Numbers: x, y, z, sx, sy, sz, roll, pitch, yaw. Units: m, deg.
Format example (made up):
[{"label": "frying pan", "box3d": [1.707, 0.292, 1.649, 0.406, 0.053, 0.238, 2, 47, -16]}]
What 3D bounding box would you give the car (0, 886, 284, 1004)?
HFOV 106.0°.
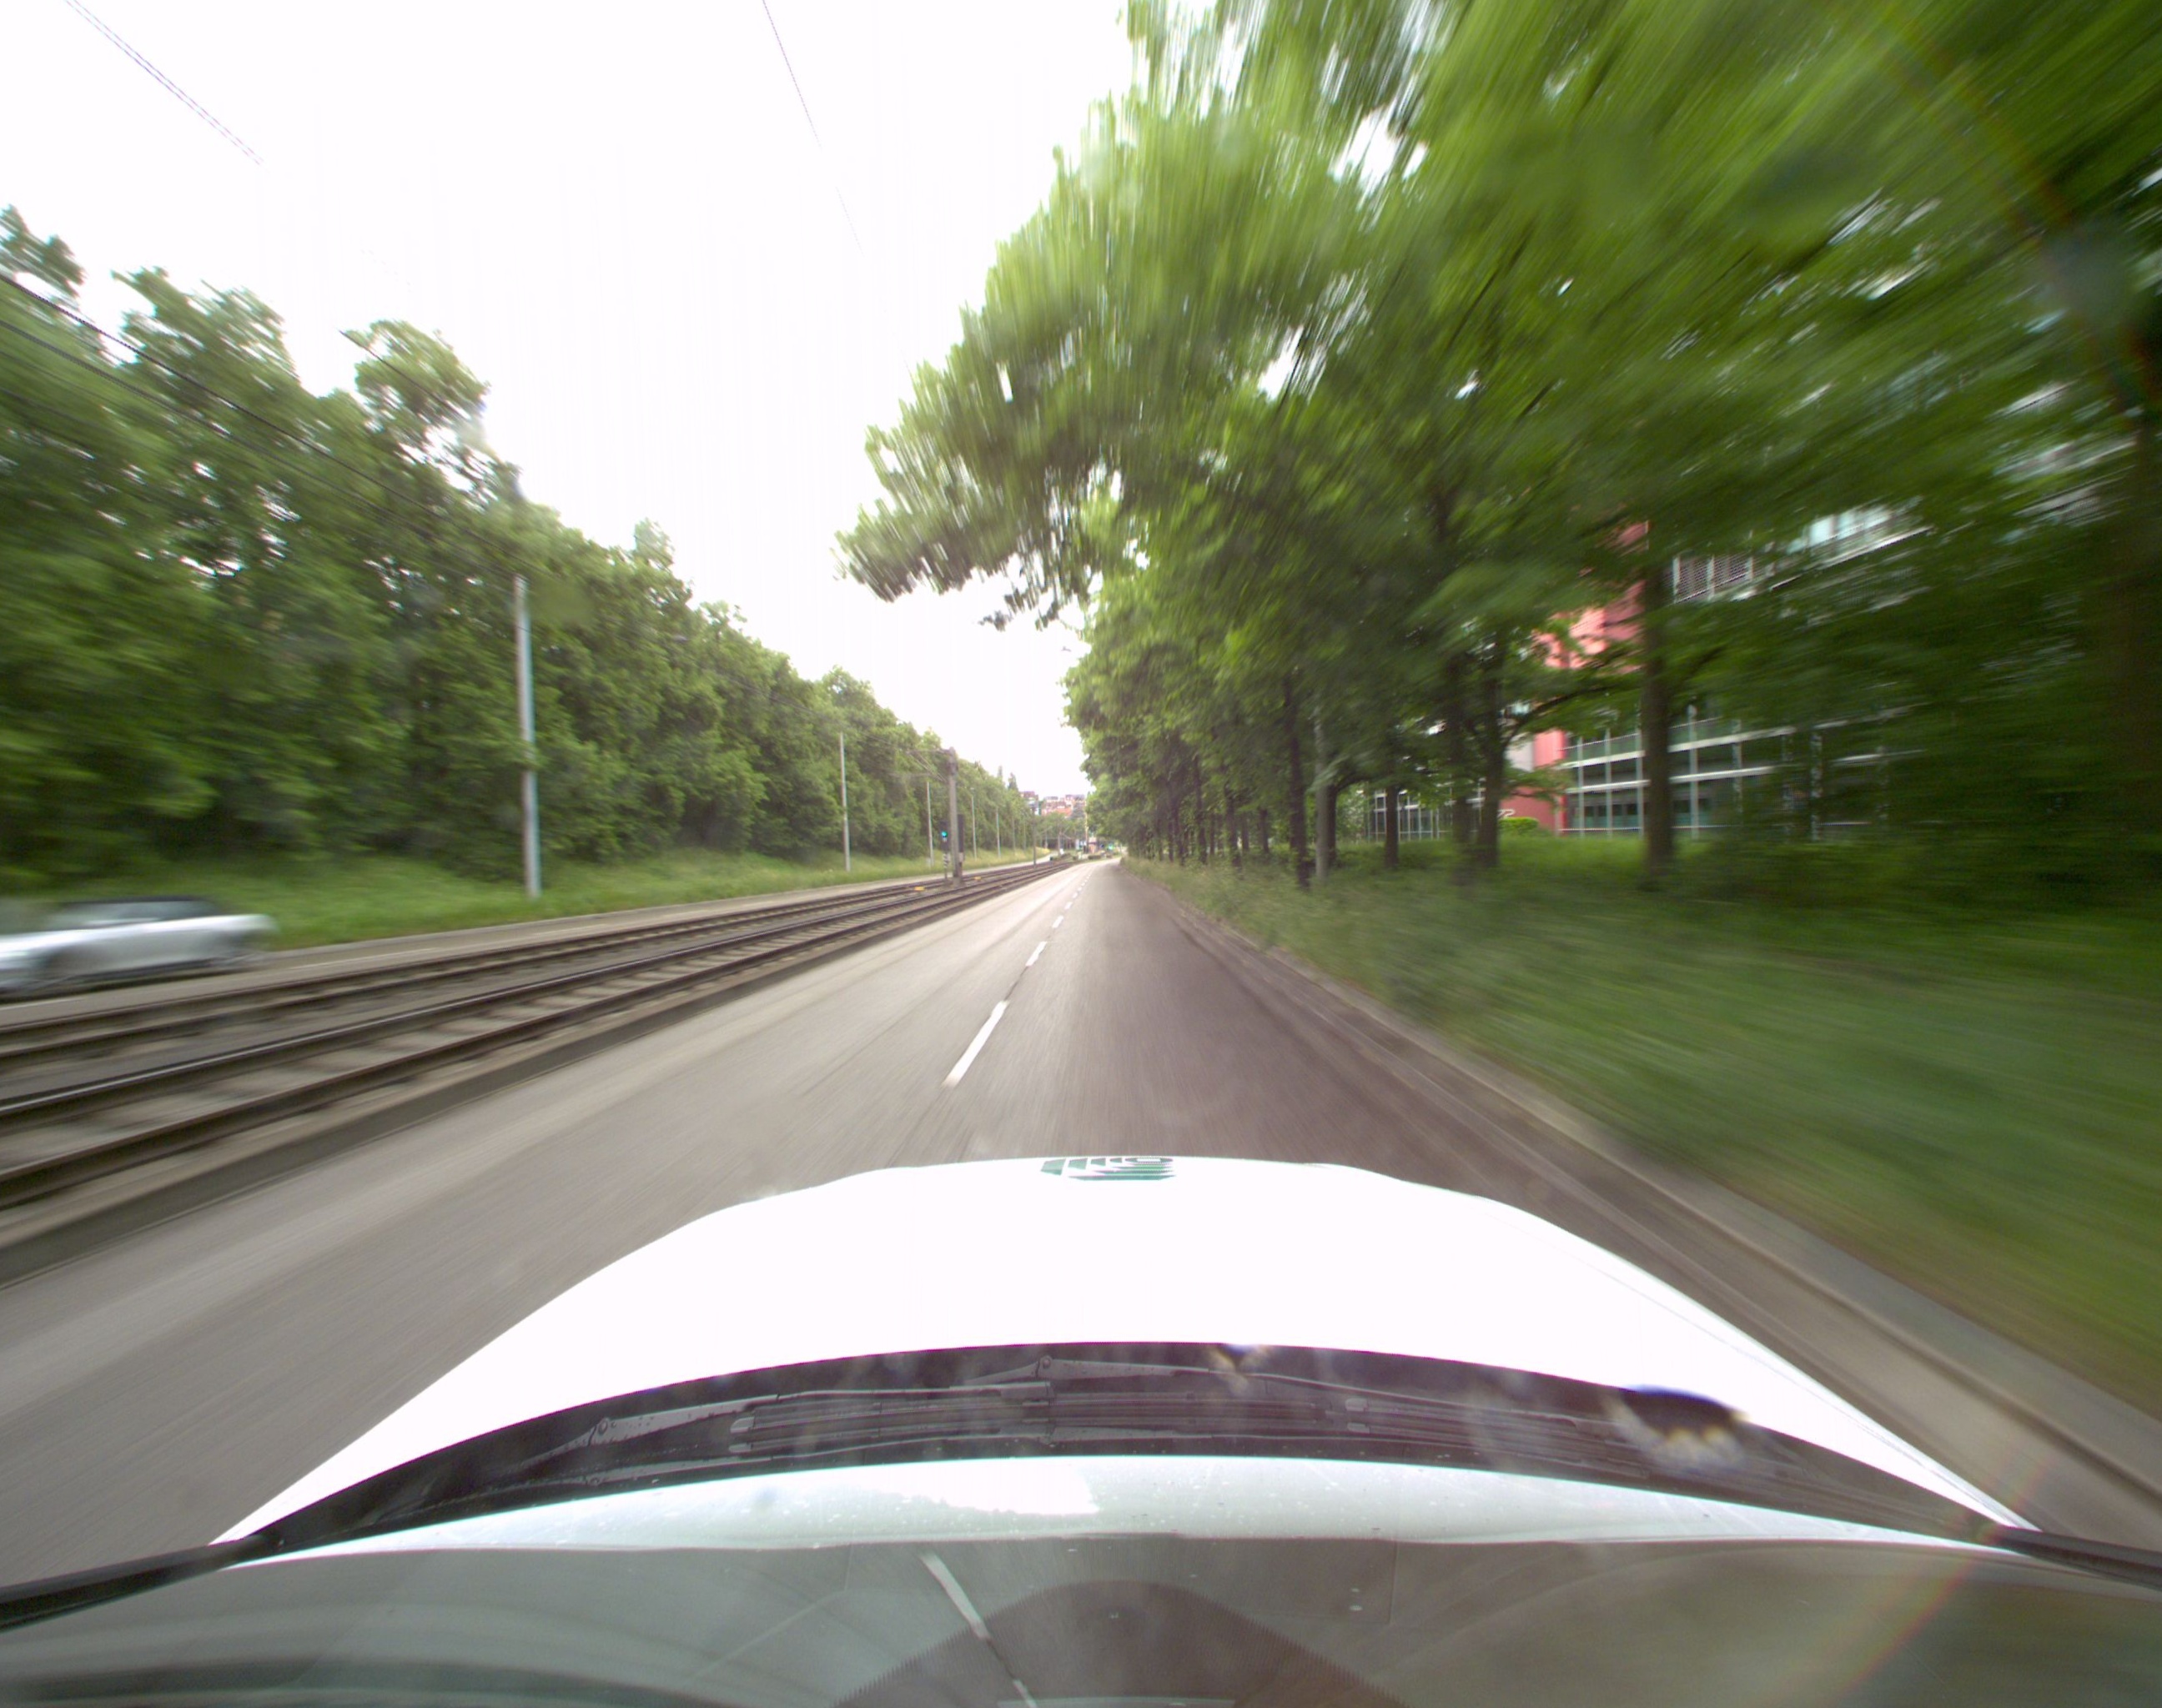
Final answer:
[{"label": "car", "box3d": [-15.297, 1.350, 12.830, 1.470, 1.436, 3.911, -4, 0, 2]}]
